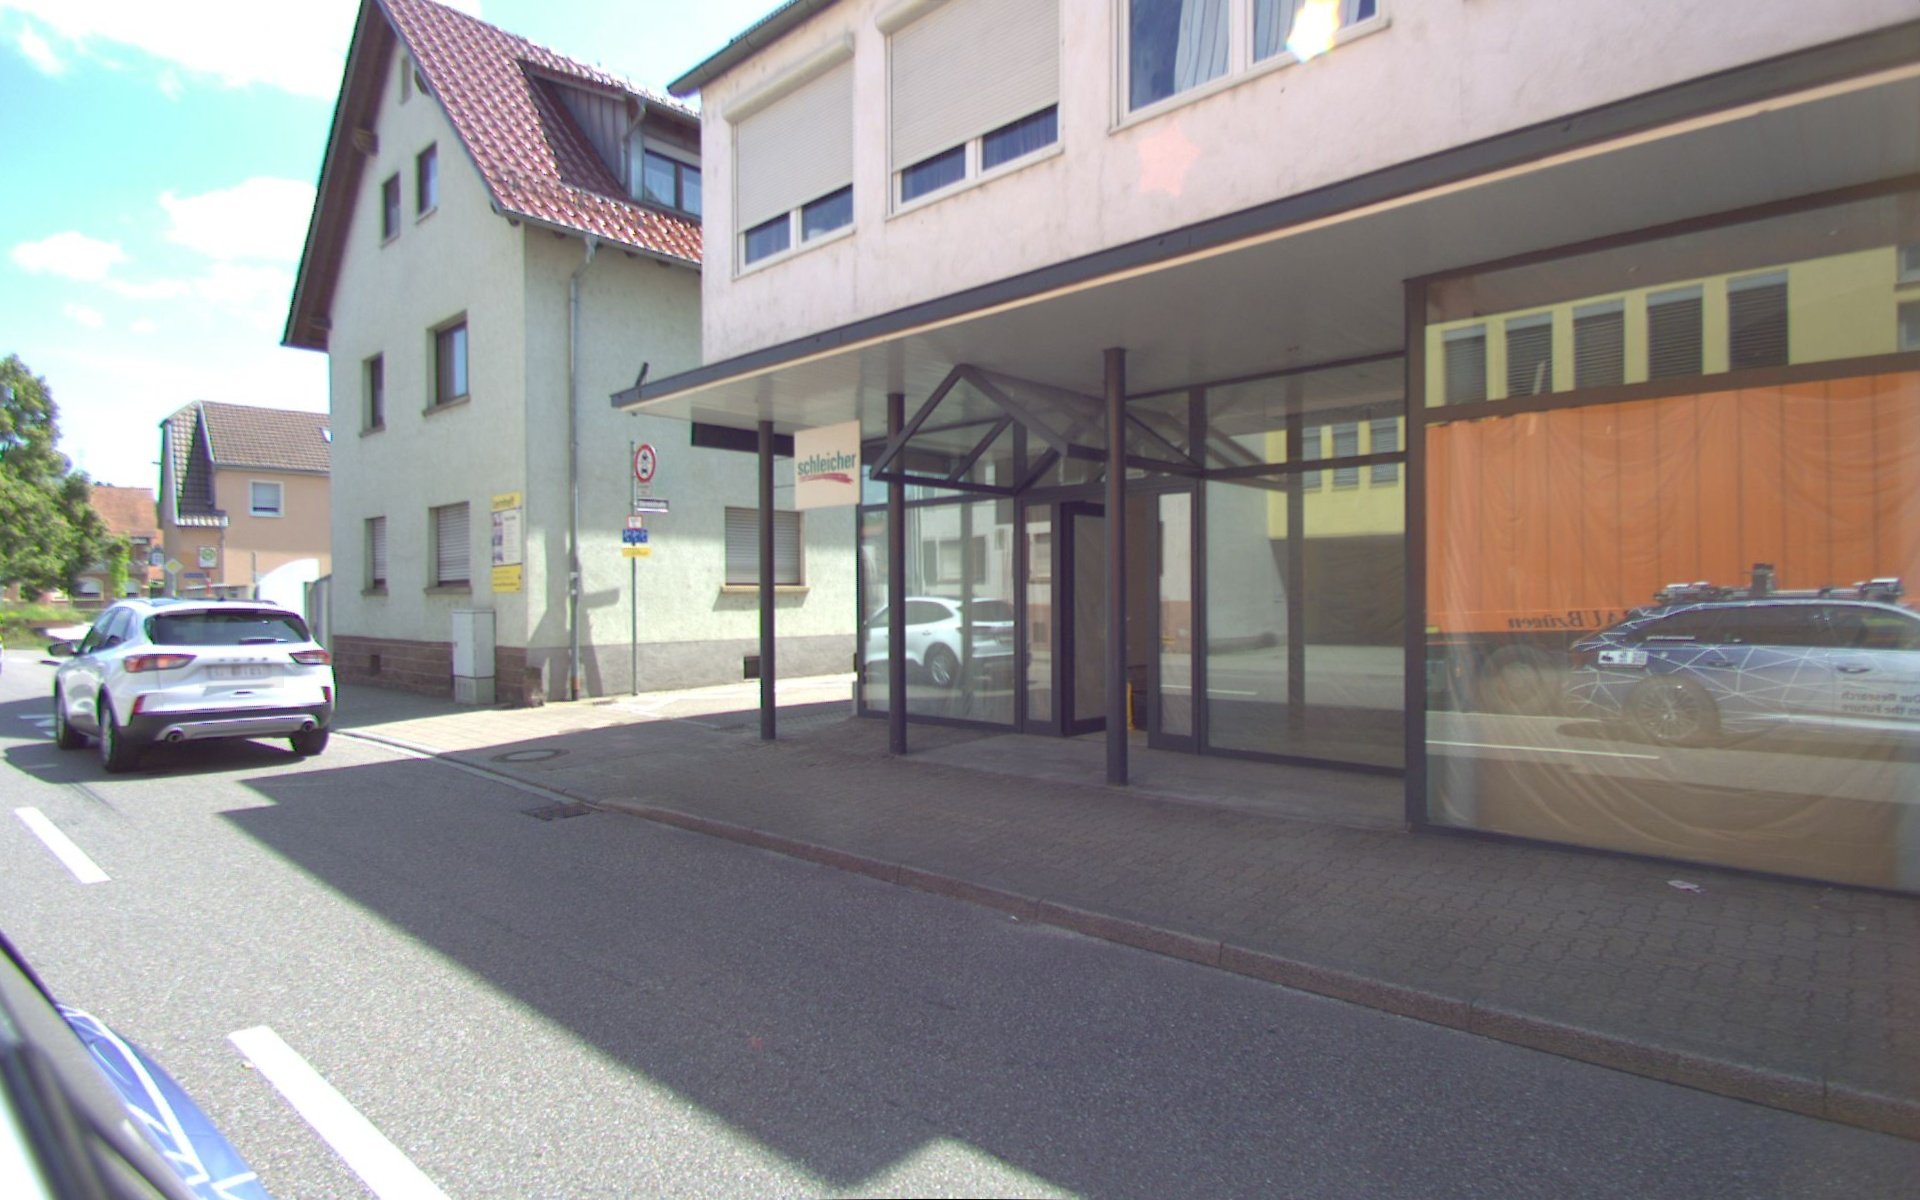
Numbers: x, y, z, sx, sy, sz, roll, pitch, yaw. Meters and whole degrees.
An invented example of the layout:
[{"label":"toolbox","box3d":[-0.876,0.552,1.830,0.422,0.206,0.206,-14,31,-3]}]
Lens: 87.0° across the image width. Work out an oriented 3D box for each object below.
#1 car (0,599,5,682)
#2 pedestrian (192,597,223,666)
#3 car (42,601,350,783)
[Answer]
[{"label":"car","box3d":[-23.678,0.899,23.148,4.590,1.844,1.767,0,-1,35]},{"label":"pedestrian","box3d":[-19.694,0.810,26.487,0.475,1.777,0.468,-1,0,19]},{"label":"car","box3d":[-8.256,0.815,10.794,4.197,1.566,1.799,0,-2,42]}]
